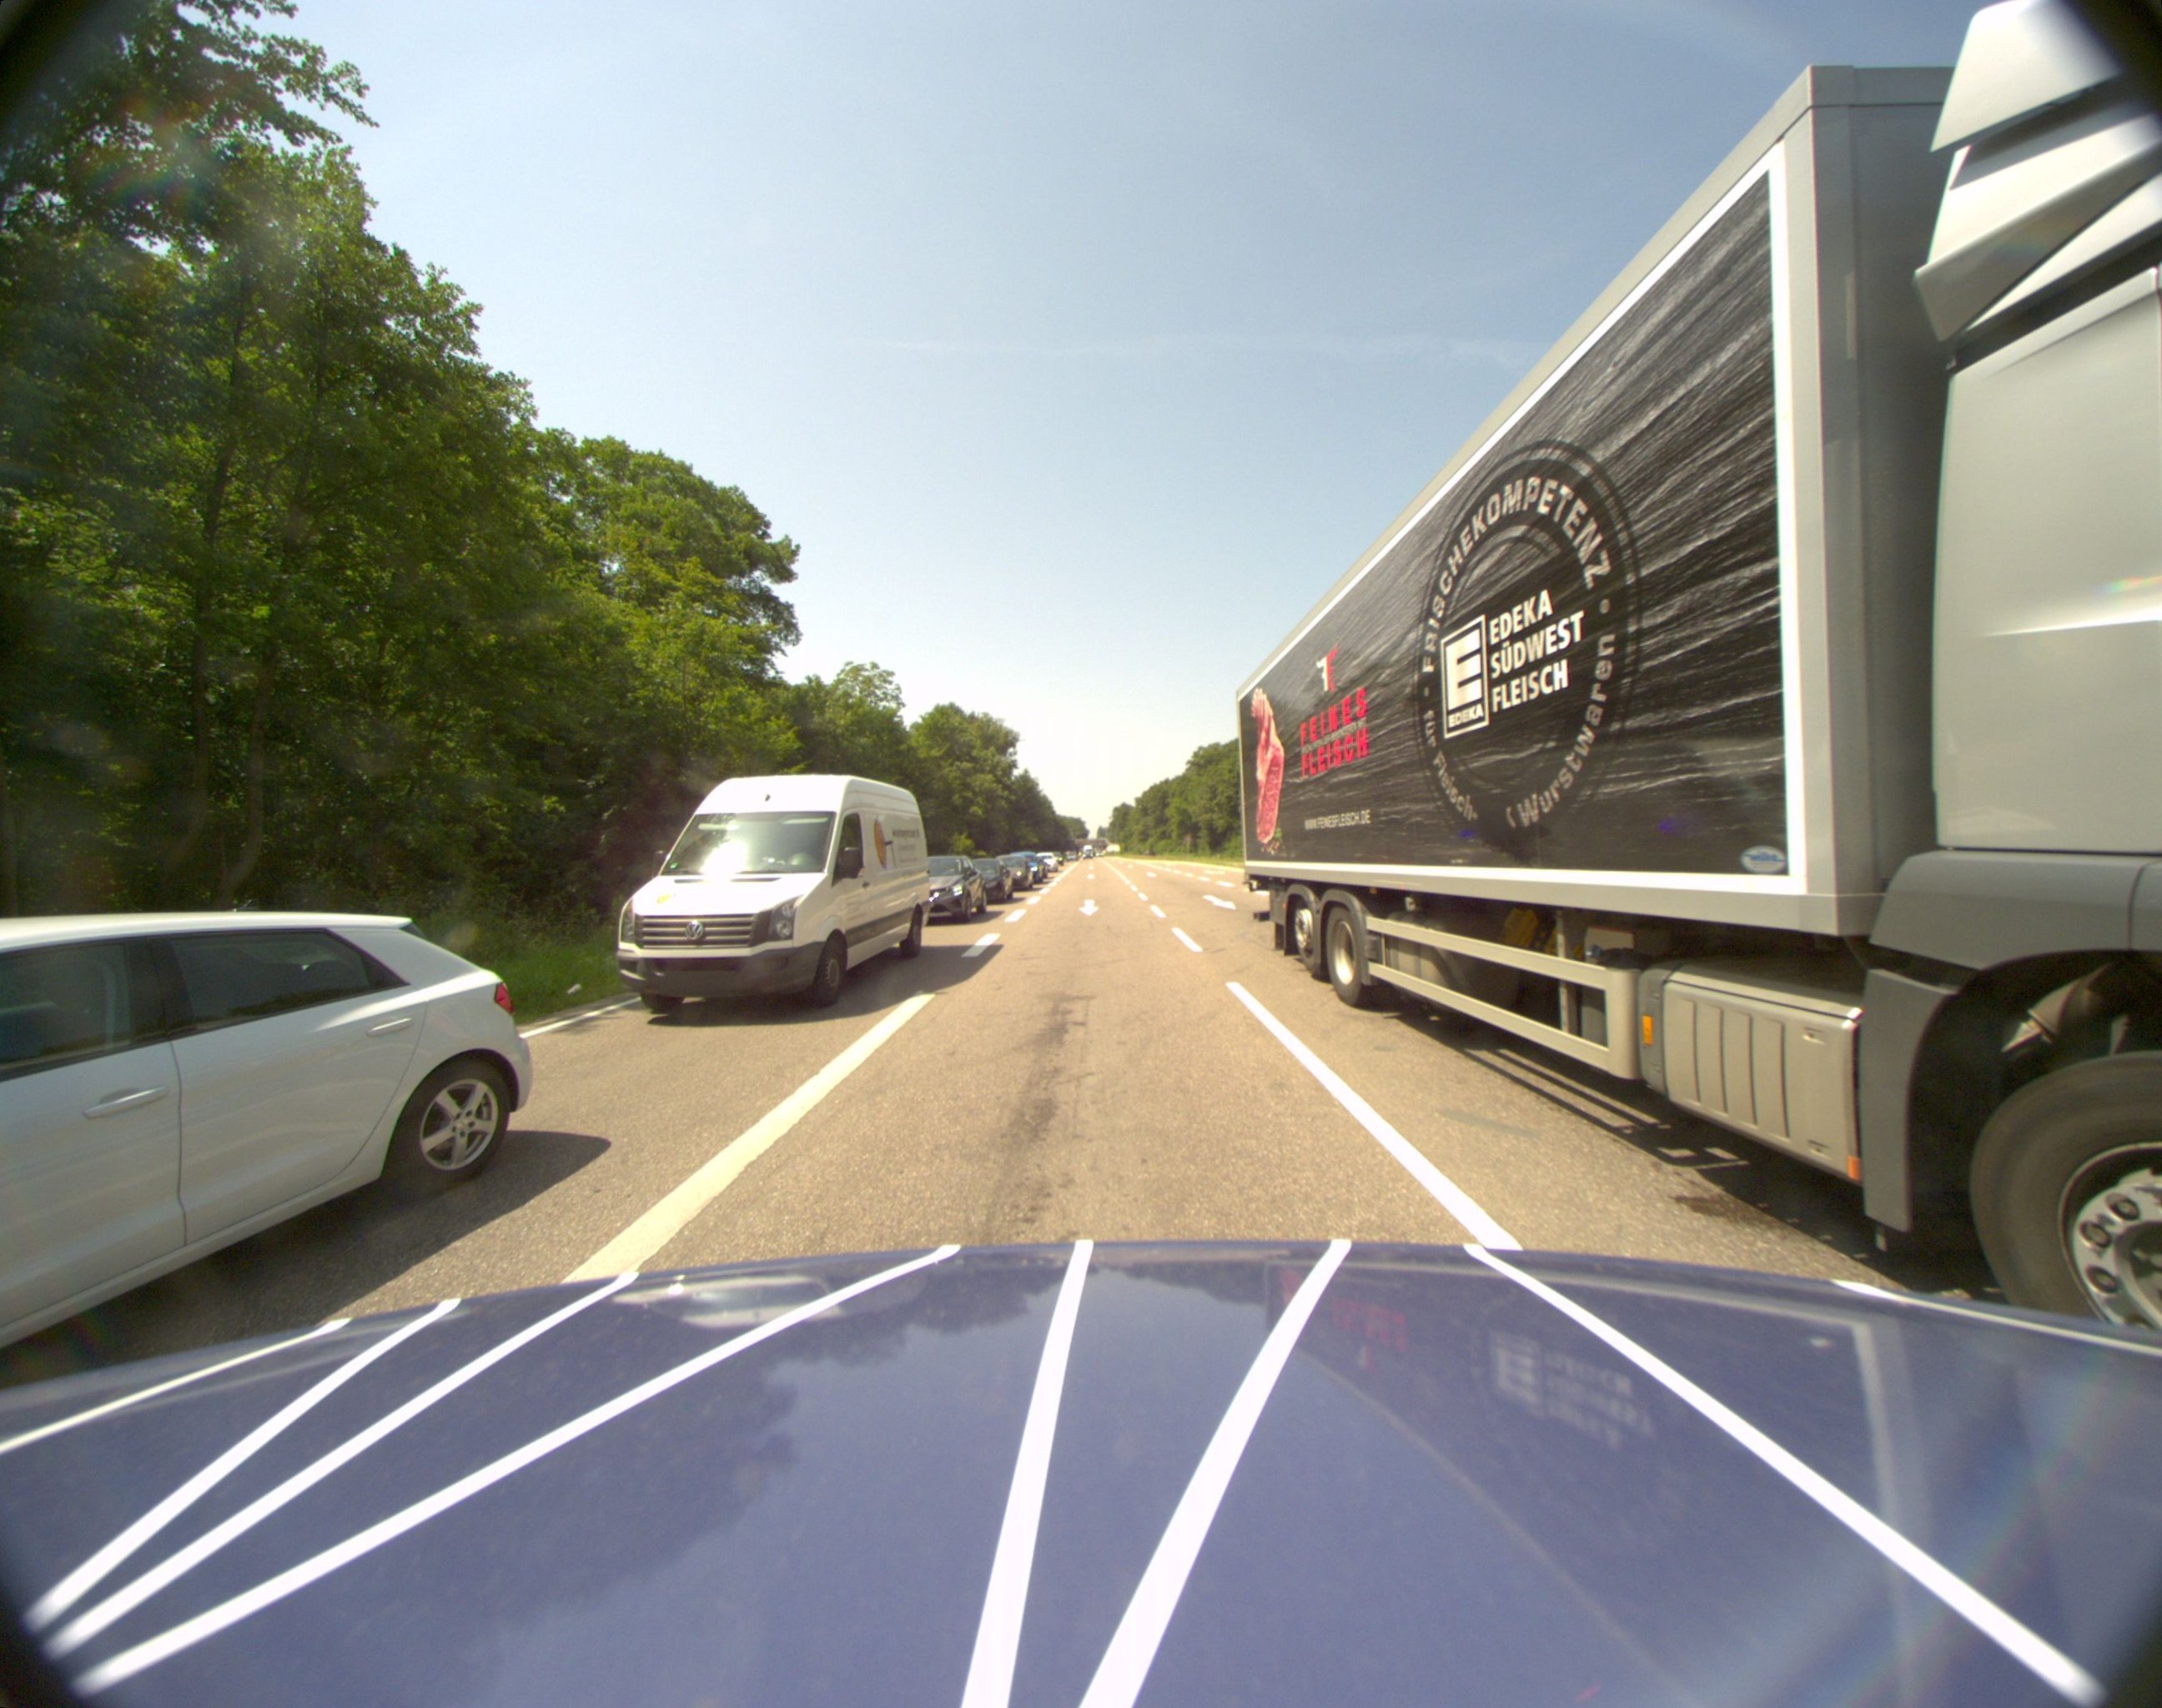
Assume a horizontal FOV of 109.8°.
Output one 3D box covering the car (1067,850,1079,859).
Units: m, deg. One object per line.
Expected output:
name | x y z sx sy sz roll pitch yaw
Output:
car | -1.289 0.115 122.429 1.796 1.431 4.228 -1 1 0

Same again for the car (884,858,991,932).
car | -3.351 0.899 18.538 1.796 1.452 4.228 -2 1 0

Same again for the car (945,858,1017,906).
car | -3.192 0.849 24.940 1.796 1.348 4.228 -1 1 0

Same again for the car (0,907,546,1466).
car | -3.942 1.066 2.211 1.693 1.427 4.001 -3 0 4

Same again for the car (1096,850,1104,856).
car | 4.584 -0.289 182.979 1.998 1.543 4.000 0 0 0

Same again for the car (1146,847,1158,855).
car | 14.233 -0.548 152.881 1.998 1.543 3.999 -2 1 0

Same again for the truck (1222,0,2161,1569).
truck | 3.575 -0.497 5.637 2.753 3.862 11.318 -2 1 0

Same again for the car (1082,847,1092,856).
car | 1.134 -0.472 145.112 1.992 1.575 4.364 -1 1 0

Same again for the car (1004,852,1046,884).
car | -2.758 0.666 38.274 1.796 1.431 4.228 -1 1 0

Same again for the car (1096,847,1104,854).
car | 5.117 -0.872 206.663 1.998 1.868 4.000 0 1 3

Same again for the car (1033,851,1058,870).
car | -2.744 0.500 59.640 1.796 1.431 4.228 0 1 0

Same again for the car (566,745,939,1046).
car | -3.516 0.364 9.852 1.974 2.630 6.060 -2 0 1

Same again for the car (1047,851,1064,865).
car | -2.799 0.433 84.665 1.796 1.431 4.228 -1 1 0

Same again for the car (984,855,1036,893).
car | -2.910 0.789 32.065 1.796 1.431 4.228 -1 1 0
